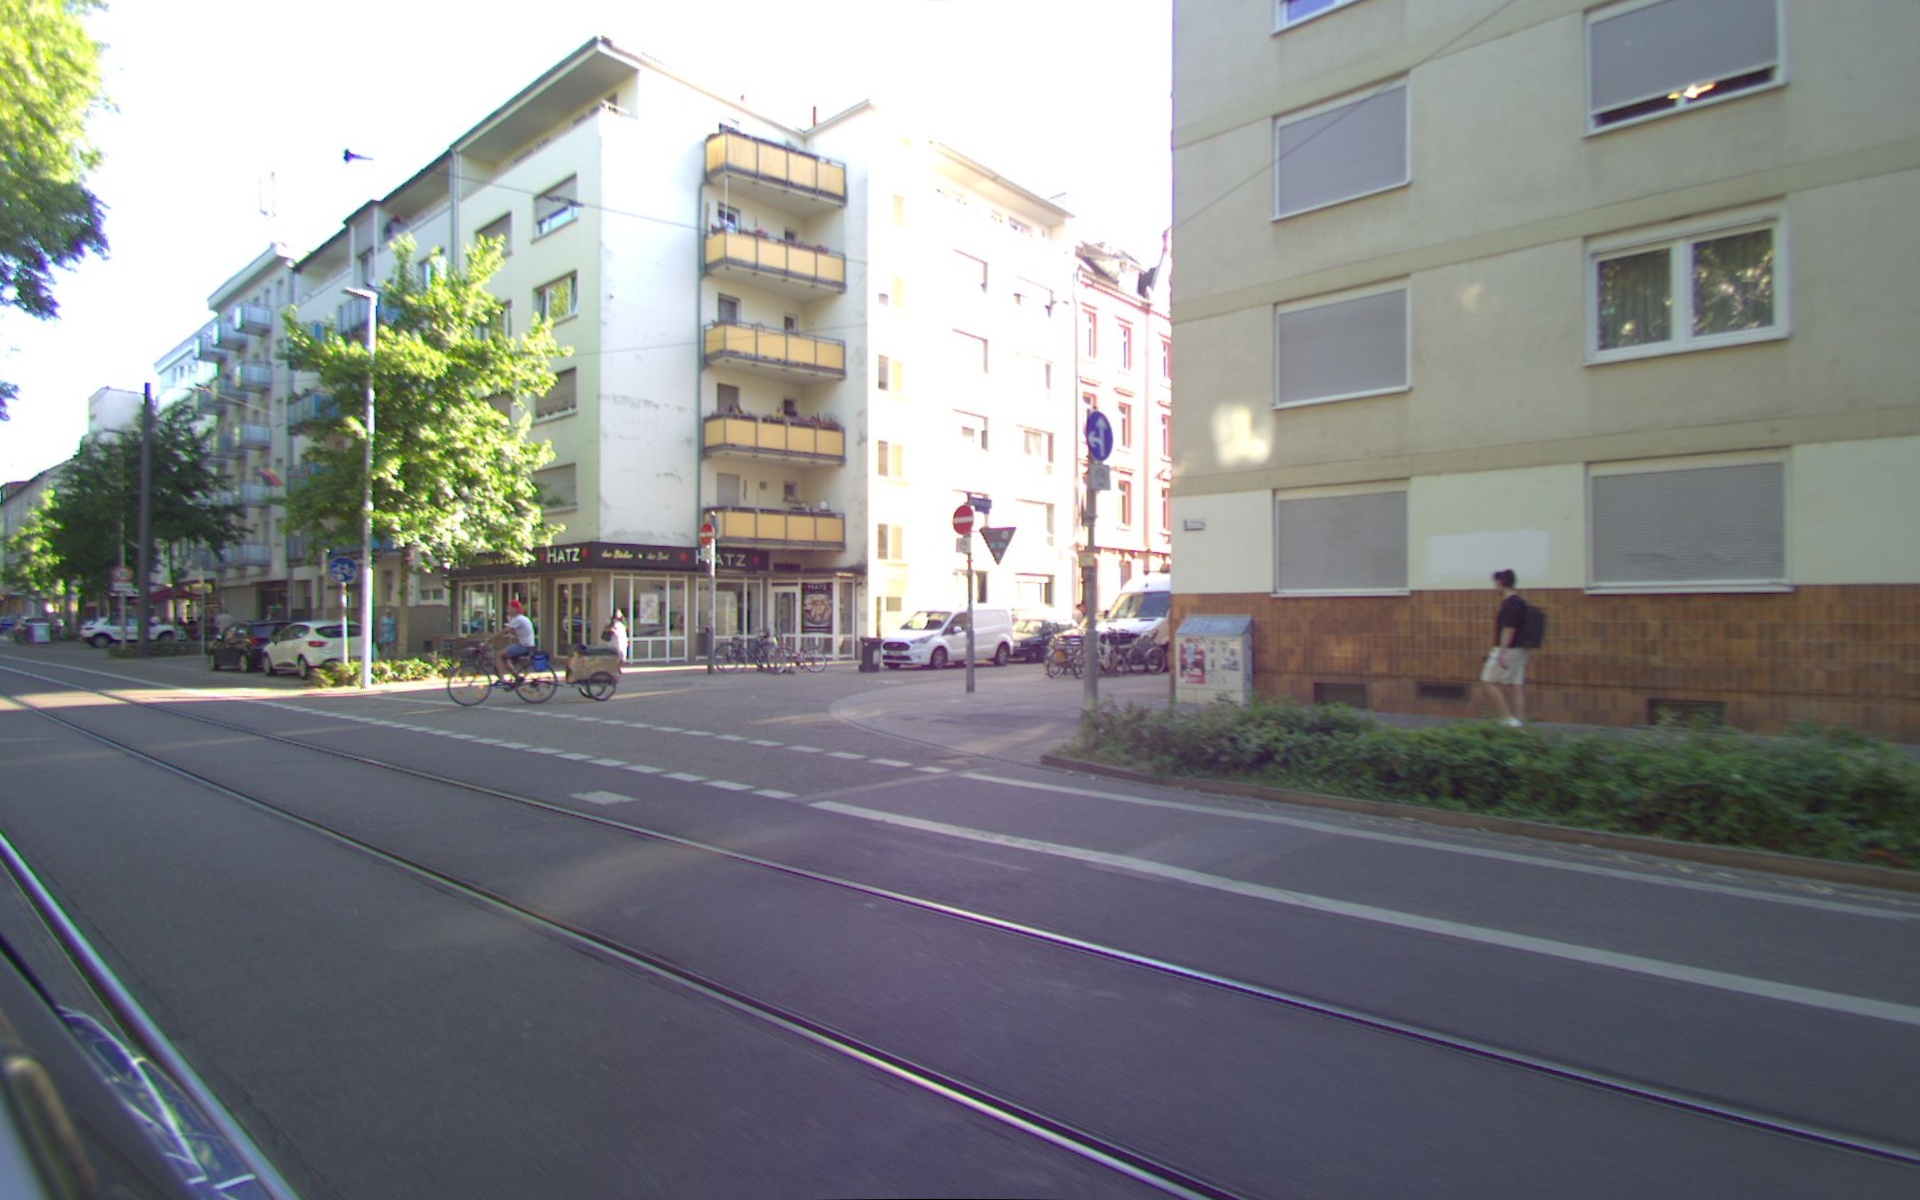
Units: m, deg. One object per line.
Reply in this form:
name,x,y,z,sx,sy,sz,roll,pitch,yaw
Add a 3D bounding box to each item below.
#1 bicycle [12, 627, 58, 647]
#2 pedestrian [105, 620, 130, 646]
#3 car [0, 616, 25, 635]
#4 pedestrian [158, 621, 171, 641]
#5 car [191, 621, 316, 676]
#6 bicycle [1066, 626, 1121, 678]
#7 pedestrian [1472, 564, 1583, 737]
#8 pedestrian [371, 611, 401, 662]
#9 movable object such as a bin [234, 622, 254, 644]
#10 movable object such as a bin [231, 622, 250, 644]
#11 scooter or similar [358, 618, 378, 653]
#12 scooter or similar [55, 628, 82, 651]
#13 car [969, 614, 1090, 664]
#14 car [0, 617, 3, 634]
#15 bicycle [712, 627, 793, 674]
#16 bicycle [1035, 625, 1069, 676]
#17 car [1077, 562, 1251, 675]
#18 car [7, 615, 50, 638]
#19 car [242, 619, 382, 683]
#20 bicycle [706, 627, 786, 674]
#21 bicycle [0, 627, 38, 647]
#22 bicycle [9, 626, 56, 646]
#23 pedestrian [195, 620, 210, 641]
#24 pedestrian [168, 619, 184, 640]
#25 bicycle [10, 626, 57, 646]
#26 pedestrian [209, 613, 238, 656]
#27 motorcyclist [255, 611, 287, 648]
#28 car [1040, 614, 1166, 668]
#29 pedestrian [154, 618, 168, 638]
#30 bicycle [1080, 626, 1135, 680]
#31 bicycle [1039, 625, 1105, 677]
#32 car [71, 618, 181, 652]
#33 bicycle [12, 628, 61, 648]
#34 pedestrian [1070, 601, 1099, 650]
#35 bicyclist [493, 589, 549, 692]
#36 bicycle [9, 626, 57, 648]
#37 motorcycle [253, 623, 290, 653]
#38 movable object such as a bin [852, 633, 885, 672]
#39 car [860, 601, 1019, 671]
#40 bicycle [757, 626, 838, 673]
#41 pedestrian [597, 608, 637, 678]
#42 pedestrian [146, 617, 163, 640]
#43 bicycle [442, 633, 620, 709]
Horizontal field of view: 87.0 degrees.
bicycle,-48.139,1.917,52.669,0.657,1.015,1.676,0,0,36
pedestrian,-43.348,1.680,52.069,0.744,1.307,0.708,-1,-1,27
car,-80.115,2.146,84.909,4.387,1.556,1.935,-1,-2,42
pedestrian,-48.089,1.869,61.189,0.564,1.207,0.506,-1,-2,43
car,-20.818,1.374,29.781,3.990,1.475,1.699,-1,0,34
bicycle,3.097,1.191,23.308,0.582,1.165,1.735,0,-3,32
pedestrian,6.351,0.542,11.325,0.964,1.840,0.657,-1,-1,40
pedestrian,-19.360,1.221,34.108,0.748,1.704,0.657,-1,-1,40
movable object such as a bin,-34.765,1.592,49.145,0.574,1.063,0.665,-1,-2,43
movable object such as a bin,-35.242,1.607,49.571,0.622,1.063,0.670,-1,-2,43
scooter or similar,-22.586,1.350,38.601,0.370,1.299,1.238,3,-3,-41
scooter or similar,-49.365,2.189,56.058,0.498,1.185,1.069,0,0,40
car,2.294,1.219,32.785,2.027,1.511,3.906,-1,-1,39
car,-88.652,2.316,92.193,4.280,1.475,1.776,-1,-2,42
bicycle,-5.251,1.286,25.675,1.918,1.165,0.573,3,-3,-35
bicycle,2.217,1.216,24.586,0.575,1.165,1.604,1,-2,-4
car,5.639,0.485,27.328,2.168,2.744,5.750,-1,-1,39
car,-70.935,1.980,77.029,4.355,1.663,1.859,-1,1,40
car,-17.273,1.292,26.899,4.370,1.475,1.697,-1,2,37
bicycle,-5.493,1.301,26.013,1.918,1.165,0.573,3,-3,-35
bicycle,-52.063,2.026,55.857,0.657,1.015,1.676,0,0,36
bicycle,-50.325,1.928,54.927,0.657,1.015,1.813,0,0,36
pedestrian,-44.651,1.805,59.654,0.623,1.207,0.556,-1,-2,40
pedestrian,-46.330,1.734,59.791,0.558,1.207,0.511,0,-1,12
bicycle,-49.861,1.926,54.475,0.657,1.015,1.813,0,0,36
pedestrian,-30.074,1.394,41.324,0.794,1.704,0.756,-1,-1,40
motorcyclist,-28.029,1.199,41.153,1.016,1.451,0.864,-1,-2,42
car,4.366,1.191,30.479,2.028,1.511,3.906,-1,-1,40
pedestrian,-49.268,1.703,62.409,0.560,1.207,0.509,-1,-1,25
bicycle,3.377,1.200,23.084,0.582,1.165,1.735,0,-3,32
bicycle,2.647,1.200,23.765,1.728,1.165,0.585,3,-3,-45
car,-40.907,1.691,49.669,1.852,1.486,3.968,0,0,43
bicycle,-49.009,2.002,53.730,0.657,1.015,1.813,0,0,36
pedestrian,4.679,0.948,37.966,0.765,1.814,0.824,-1,-1,37
bicyclist,-7.520,0.671,17.346,0.859,1.717,0.911,0,-1,-23
bicycle,-49.662,1.964,54.217,0.657,1.072,1.813,0,0,36
motorcycle,-27.981,1.518,41.121,1.915,1.173,0.840,-1,-2,43
movable object such as a bin,-2.360,1.365,26.249,0.638,0.980,0.589,-1,-1,30
car,-0.491,0.971,28.941,2.035,1.836,4.830,-1,-1,37
bicycle,-4.144,1.267,25.876,1.917,1.165,0.574,2,-3,-29
pedestrian,-8.587,1.064,25.324,0.748,1.704,0.657,-1,-1,40
pedestrian,-53.953,1.913,67.769,0.767,1.568,0.718,-1,-2,36
bicycle,-7.331,1.188,17.409,2.756,1.165,0.924,0,-1,-23
